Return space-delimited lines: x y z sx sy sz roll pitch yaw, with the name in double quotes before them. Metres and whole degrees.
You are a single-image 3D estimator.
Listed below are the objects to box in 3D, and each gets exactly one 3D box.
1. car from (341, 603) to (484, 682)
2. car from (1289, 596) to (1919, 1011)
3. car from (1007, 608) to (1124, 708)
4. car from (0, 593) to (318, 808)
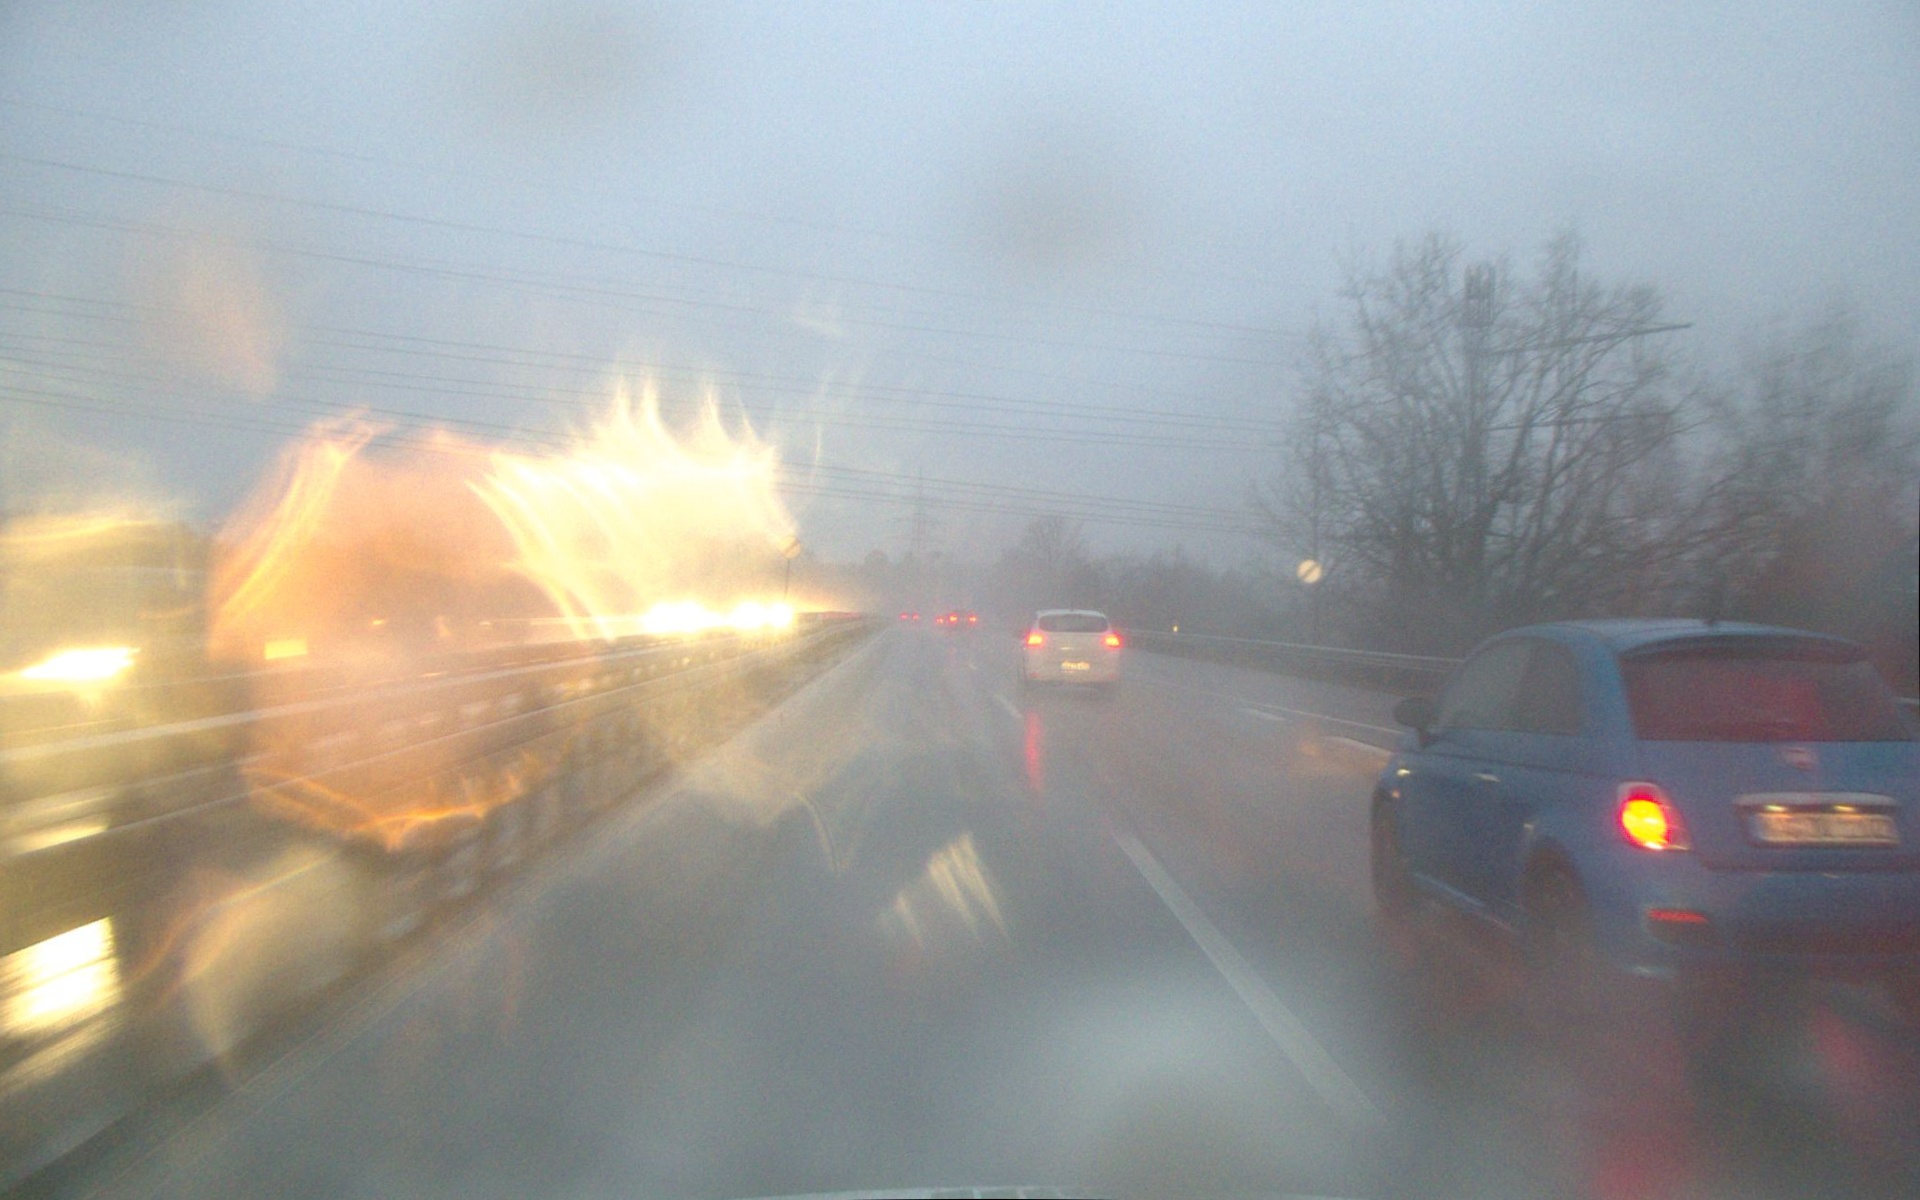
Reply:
"car" -13.367 0.998 40.702 2.028 1.823 4.845 1 0 -2
"car" 3.019 0.761 8.255 1.808 1.479 4.147 0 1 -2
"car" 1.873 1.007 30.441 1.808 1.664 3.767 1 0 -1
"car" -7.487 0.765 14.895 1.781 1.578 4.467 0 1 -2
